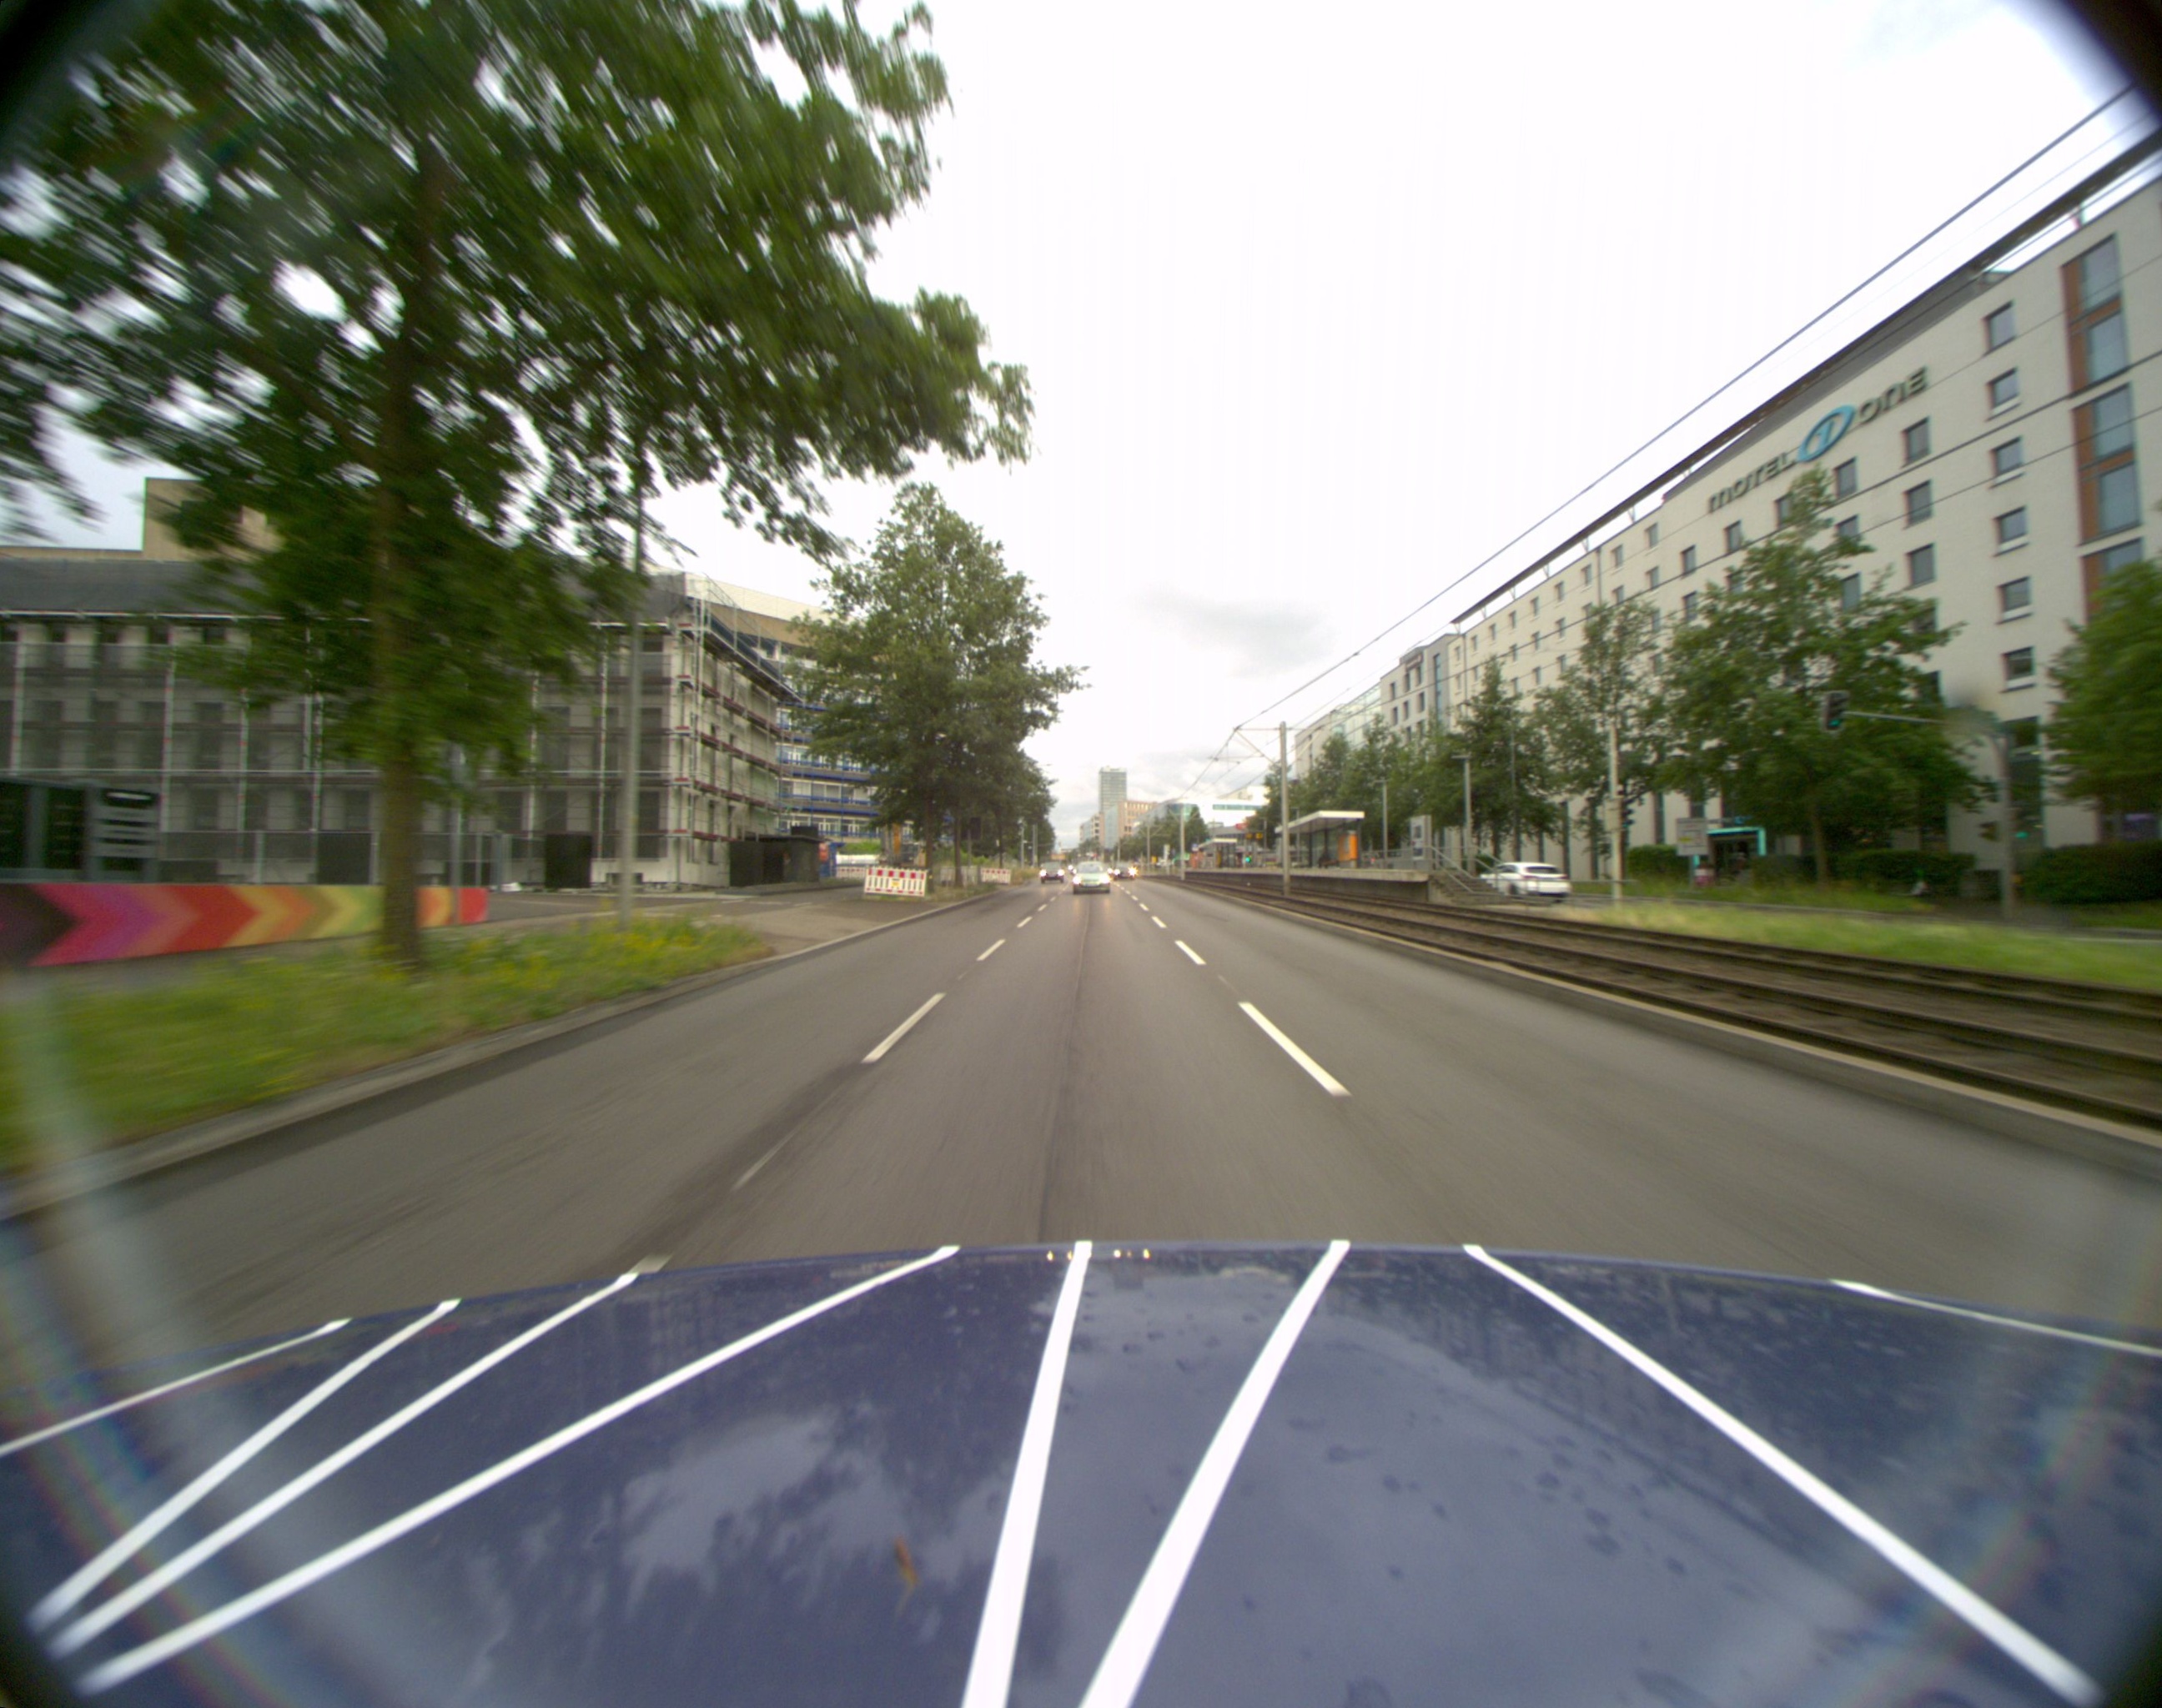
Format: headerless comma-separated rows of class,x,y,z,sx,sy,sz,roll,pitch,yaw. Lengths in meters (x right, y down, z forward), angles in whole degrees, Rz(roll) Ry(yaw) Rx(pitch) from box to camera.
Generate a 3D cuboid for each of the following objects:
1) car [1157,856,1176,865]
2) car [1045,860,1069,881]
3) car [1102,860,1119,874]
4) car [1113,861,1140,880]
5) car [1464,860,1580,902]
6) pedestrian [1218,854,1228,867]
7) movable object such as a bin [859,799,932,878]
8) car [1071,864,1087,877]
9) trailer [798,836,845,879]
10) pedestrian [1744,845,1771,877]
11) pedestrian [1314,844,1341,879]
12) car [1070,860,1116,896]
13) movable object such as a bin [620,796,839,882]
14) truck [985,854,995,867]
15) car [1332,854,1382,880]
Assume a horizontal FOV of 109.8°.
car,26.937,2.088,238.928,5.489,2.613,2.275,-2,0,-20
car,-1.983,1.309,61.702,1.816,1.660,4.548,-1,-1,-3
car,3.593,1.553,93.083,1.781,1.670,4.130,-1,-1,-3
car,3.770,1.387,63.643,1.799,1.492,3.999,-1,-1,-2
car,16.580,0.978,28.852,1.842,1.436,4.429,1,0,1
pedestrian,15.228,0.690,81.335,0.964,1.292,0.684,0,0,-1
movable object such as a bin,-14.417,-1.136,59.816,3.298,5.651,8.763,-2,0,1
car,-0.288,2.043,96.075,1.781,1.551,3.739,-1,-1,-3
trailer,-20.002,0.264,58.338,2.649,3.025,7.484,-2,0,-24
pedestrian,33.719,0.352,37.882,0.833,1.568,0.603,-2,1,19
pedestrian,14.492,0.417,44.771,1.129,2.002,1.270,-2,1,1
car,0.497,1.054,35.272,1.804,1.533,4.373,-1,-1,-3
movable object such as a bin,-22.194,-0.904,48.684,12.174,5.231,3.788,0,1,-2
truck,-18.780,1.349,157.047,1.751,2.503,3.998,-2,0,-6
car,20.614,0.958,56.963,1.998,1.836,5.002,1,-1,1
